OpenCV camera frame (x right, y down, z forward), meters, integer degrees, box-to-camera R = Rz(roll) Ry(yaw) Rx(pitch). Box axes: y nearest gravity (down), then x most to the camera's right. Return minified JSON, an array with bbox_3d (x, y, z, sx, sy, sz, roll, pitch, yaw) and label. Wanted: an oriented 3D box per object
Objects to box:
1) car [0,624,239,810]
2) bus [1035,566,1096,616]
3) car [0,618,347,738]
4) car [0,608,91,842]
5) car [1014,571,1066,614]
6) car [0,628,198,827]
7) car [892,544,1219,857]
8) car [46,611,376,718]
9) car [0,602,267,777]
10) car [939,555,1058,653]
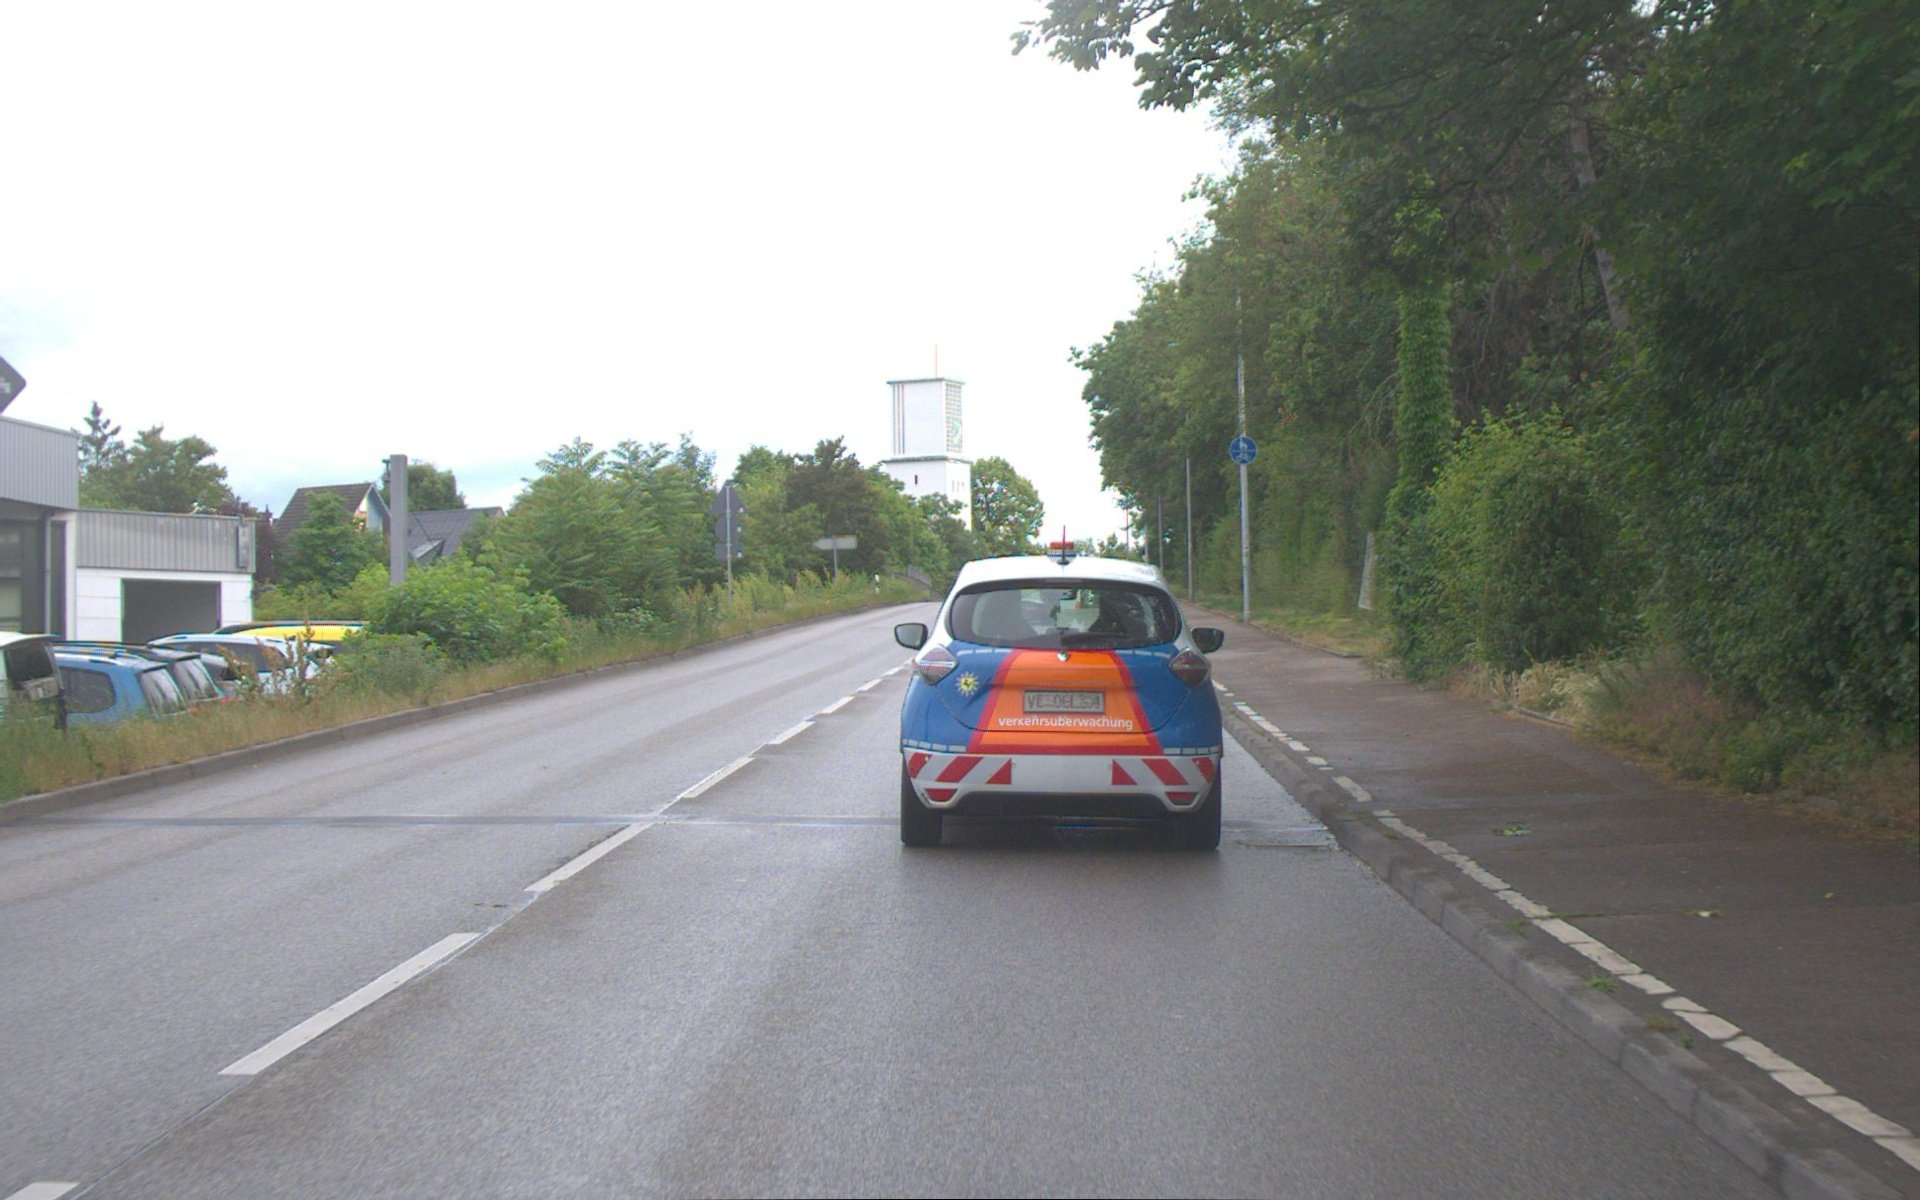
[{"bbox_3d":[-9.774,1.216,35.590,4.225,1.791,1.875,-1,1,-2],"label":"car"},{"bbox_3d":[6.860,-0.553,225.414,2.910,3.159,11.467,-2,0,-3],"label":"bus"},{"bbox_3d":[-10.076,0.974,43.735,4.225,1.364,1.875,-1,1,-2],"label":"car"},{"bbox_3d":[-9.507,1.025,27.825,4.412,1.791,1.934,-1,1,0],"label":"car"},{"bbox_3d":[2.725,-0.240,118.004,1.614,1.402,3.497,-2,0,-1],"label":"car"},{"bbox_3d":[-9.802,1.236,33.236,4.412,1.791,2.002,-1,1,-2],"label":"car"},{"bbox_3d":[0.534,0.531,19.274,1.657,1.587,3.568,0,-1,2],"label":"car"},{"bbox_3d":[-10.070,0.857,46.414,4.062,1.286,1.805,-1,1,-2],"label":"car"},{"bbox_3d":[-9.895,0.977,37.631,4.225,1.791,1.875,-1,1,-2],"label":"car"},{"bbox_3d":[0.633,0.075,59.322,1.802,1.584,3.563,-2,0,-3],"label":"car"}]
